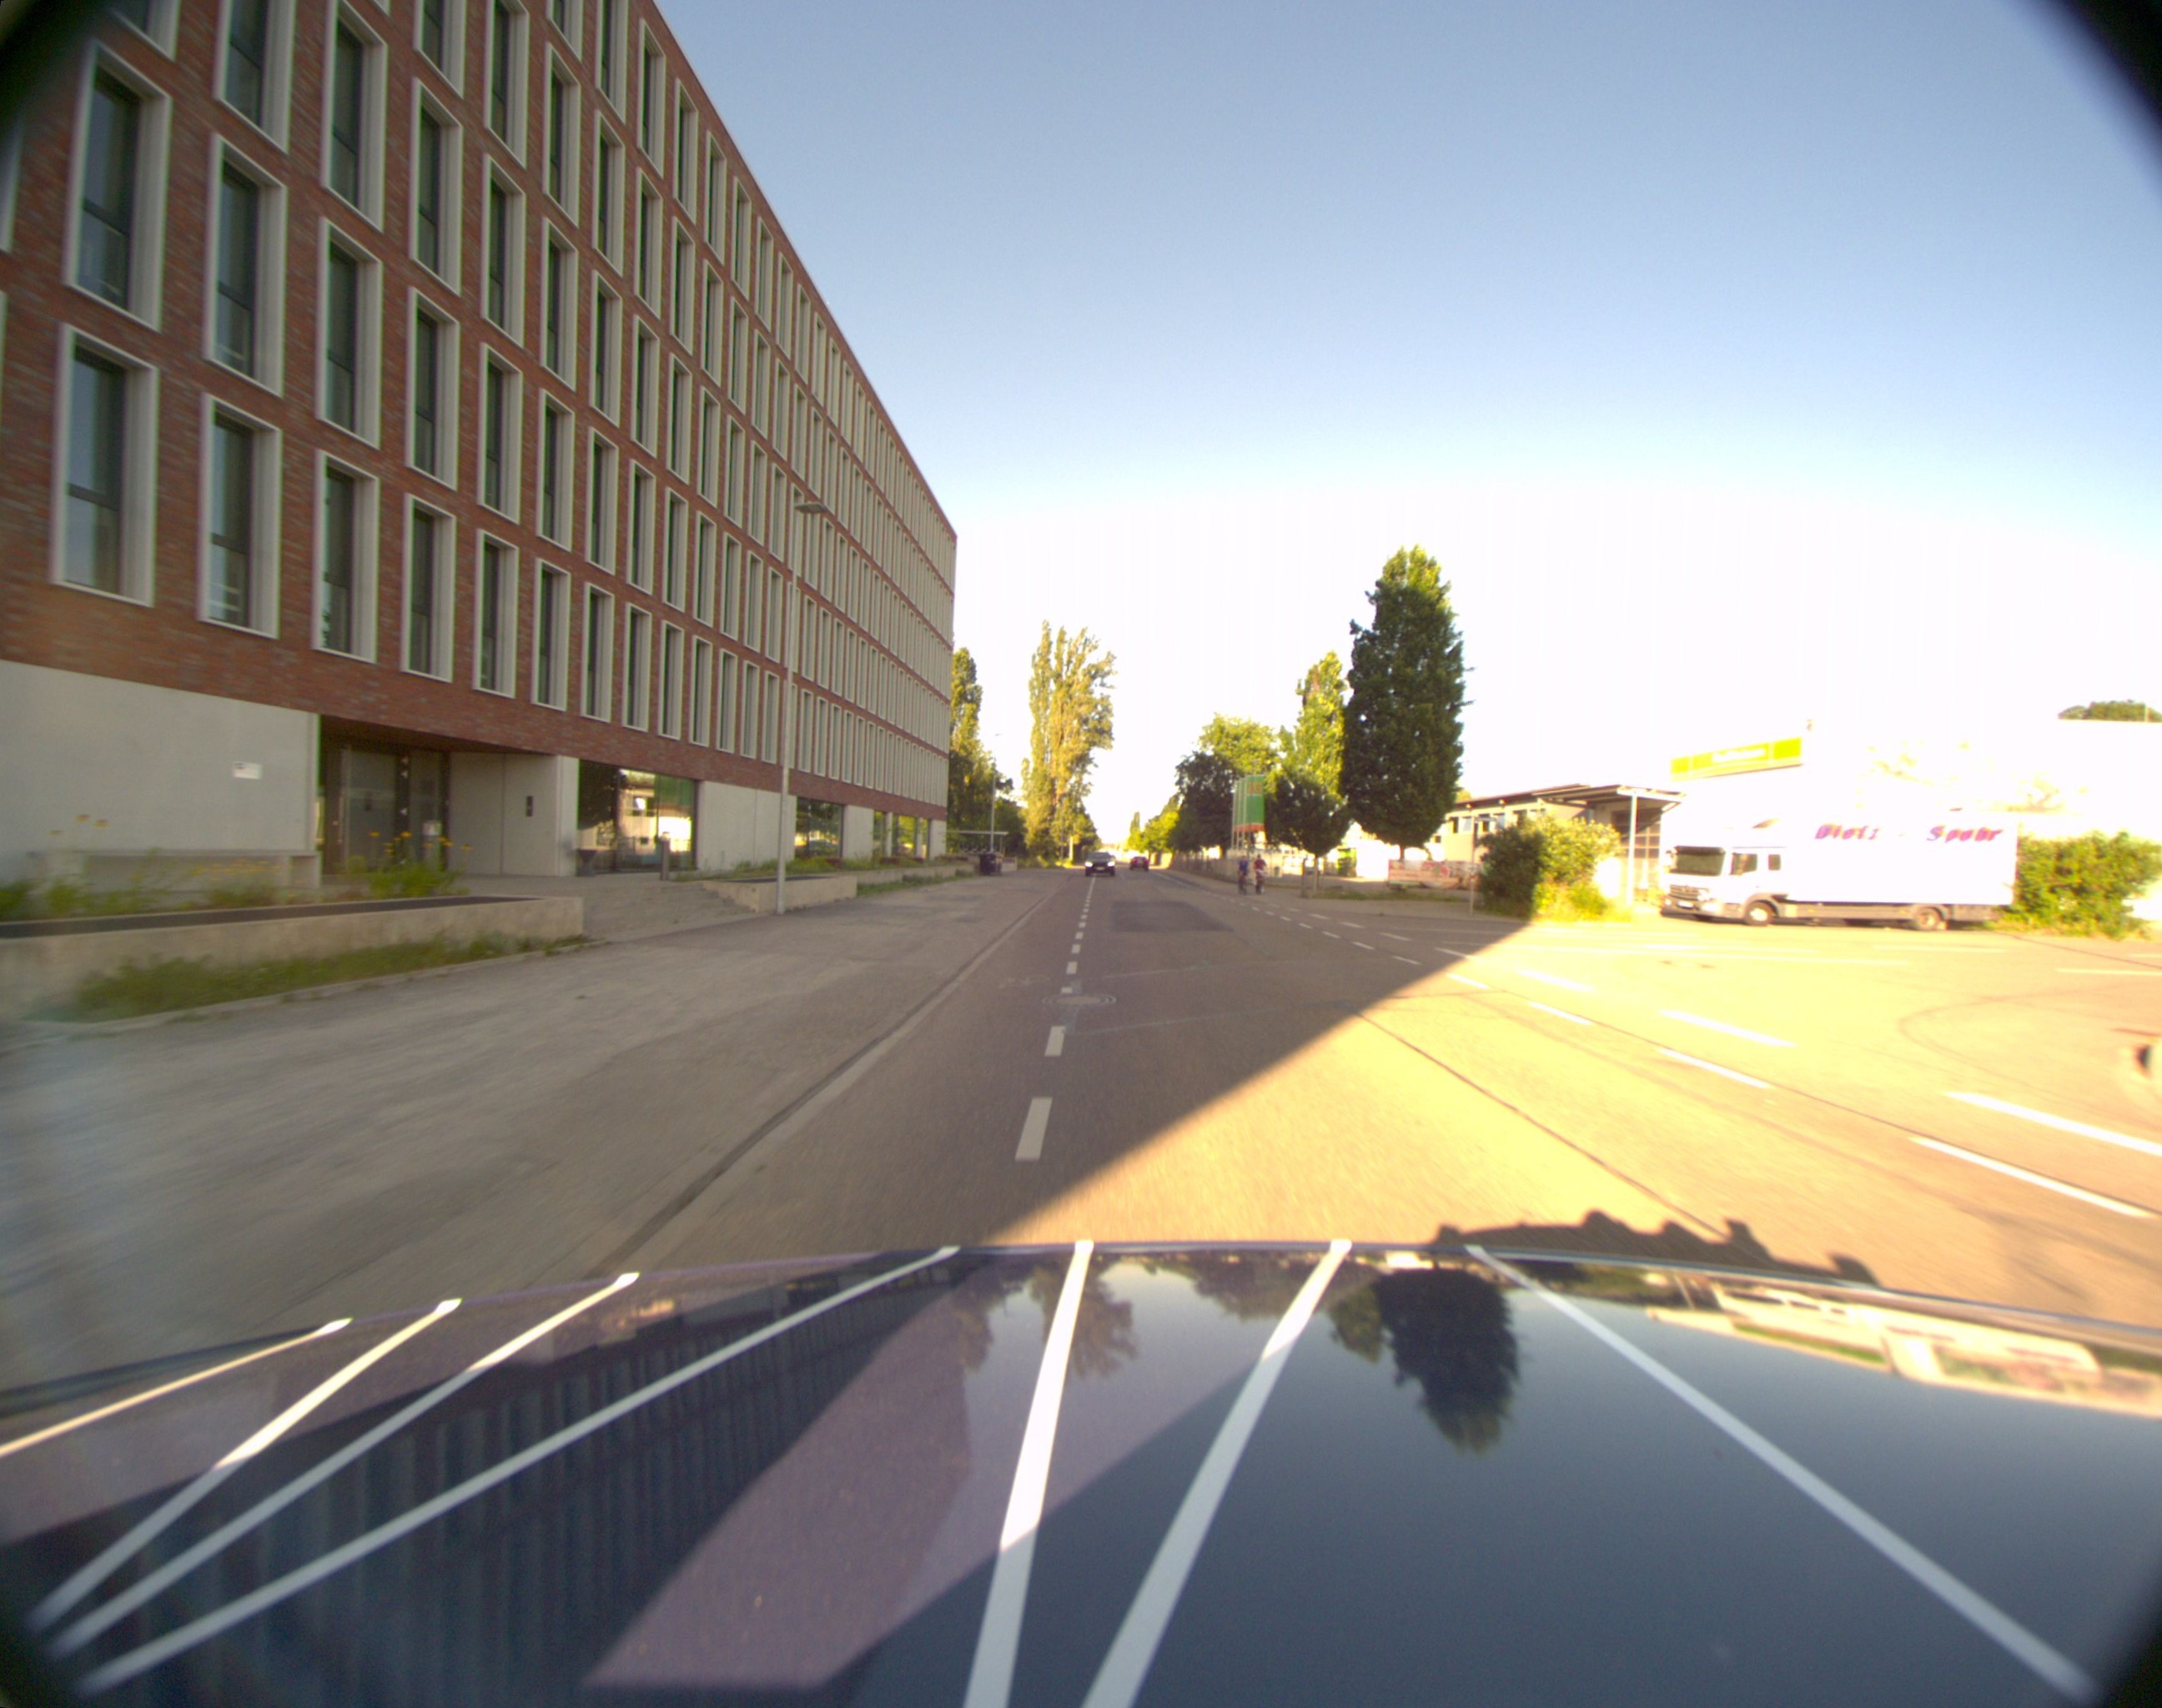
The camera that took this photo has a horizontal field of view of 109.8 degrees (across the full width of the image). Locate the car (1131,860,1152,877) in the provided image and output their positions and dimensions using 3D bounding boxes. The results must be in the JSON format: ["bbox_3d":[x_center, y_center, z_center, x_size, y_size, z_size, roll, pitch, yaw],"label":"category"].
[{"bbox_3d":[5.924,1.422,74.674,1.745,1.517,4.112,6,-1,1],"label":"car"}]

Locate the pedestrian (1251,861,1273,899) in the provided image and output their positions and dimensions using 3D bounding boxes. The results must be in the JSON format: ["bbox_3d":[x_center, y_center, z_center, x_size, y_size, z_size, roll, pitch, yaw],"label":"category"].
[{"bbox_3d":[8.359,1.205,35.201,0.722,1.710,1.057,3,0,2],"label":"pedestrian"}]

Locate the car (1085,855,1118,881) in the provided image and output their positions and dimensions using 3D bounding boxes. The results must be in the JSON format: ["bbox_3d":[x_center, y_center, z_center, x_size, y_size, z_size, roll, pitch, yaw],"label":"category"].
[{"bbox_3d":[1.383,0.907,50.233,1.998,1.608,4.001,-1,0,3],"label":"car"}]

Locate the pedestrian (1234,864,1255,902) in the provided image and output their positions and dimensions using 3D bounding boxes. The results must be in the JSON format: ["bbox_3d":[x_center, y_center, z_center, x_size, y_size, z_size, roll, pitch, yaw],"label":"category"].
[{"bbox_3d":[7.545,1.332,35.128,0.722,1.710,1.057,3,0,2],"label":"pedestrian"}]

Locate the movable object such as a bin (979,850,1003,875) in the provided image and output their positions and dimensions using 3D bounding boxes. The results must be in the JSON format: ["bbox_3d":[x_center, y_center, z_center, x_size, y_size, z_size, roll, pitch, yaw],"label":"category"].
[{"bbox_3d":[-5.187,0.497,44.033,1.131,1.328,1.345,3,0,1],"label":"movable object such as a bin"}]

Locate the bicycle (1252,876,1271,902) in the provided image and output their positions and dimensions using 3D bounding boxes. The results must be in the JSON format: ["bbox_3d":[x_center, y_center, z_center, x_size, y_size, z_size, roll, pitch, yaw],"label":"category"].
[{"bbox_3d":[8.359,1.612,35.187,0.471,1.141,1.870,1,0,2],"label":"bicycle"}]

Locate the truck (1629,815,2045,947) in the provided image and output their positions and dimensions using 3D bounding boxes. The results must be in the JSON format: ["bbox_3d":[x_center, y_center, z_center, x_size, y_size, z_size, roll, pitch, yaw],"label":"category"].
[{"bbox_3d":[23.437,0.795,23.968,10.123,3.593,2.776,2,1,1],"label":"truck"}]

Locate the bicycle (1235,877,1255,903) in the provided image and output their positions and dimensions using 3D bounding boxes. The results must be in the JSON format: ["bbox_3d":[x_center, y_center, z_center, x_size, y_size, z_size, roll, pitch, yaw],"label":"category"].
[{"bbox_3d":[7.558,1.642,35.080,0.447,1.141,2.201,1,0,2],"label":"bicycle"}]

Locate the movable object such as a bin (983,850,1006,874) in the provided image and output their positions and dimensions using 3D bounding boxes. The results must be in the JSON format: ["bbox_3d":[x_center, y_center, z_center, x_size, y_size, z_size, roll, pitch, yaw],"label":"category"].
[{"bbox_3d":[-5.146,0.490,45.422,1.131,1.363,1.345,3,0,1],"label":"movable object such as a bin"}]
